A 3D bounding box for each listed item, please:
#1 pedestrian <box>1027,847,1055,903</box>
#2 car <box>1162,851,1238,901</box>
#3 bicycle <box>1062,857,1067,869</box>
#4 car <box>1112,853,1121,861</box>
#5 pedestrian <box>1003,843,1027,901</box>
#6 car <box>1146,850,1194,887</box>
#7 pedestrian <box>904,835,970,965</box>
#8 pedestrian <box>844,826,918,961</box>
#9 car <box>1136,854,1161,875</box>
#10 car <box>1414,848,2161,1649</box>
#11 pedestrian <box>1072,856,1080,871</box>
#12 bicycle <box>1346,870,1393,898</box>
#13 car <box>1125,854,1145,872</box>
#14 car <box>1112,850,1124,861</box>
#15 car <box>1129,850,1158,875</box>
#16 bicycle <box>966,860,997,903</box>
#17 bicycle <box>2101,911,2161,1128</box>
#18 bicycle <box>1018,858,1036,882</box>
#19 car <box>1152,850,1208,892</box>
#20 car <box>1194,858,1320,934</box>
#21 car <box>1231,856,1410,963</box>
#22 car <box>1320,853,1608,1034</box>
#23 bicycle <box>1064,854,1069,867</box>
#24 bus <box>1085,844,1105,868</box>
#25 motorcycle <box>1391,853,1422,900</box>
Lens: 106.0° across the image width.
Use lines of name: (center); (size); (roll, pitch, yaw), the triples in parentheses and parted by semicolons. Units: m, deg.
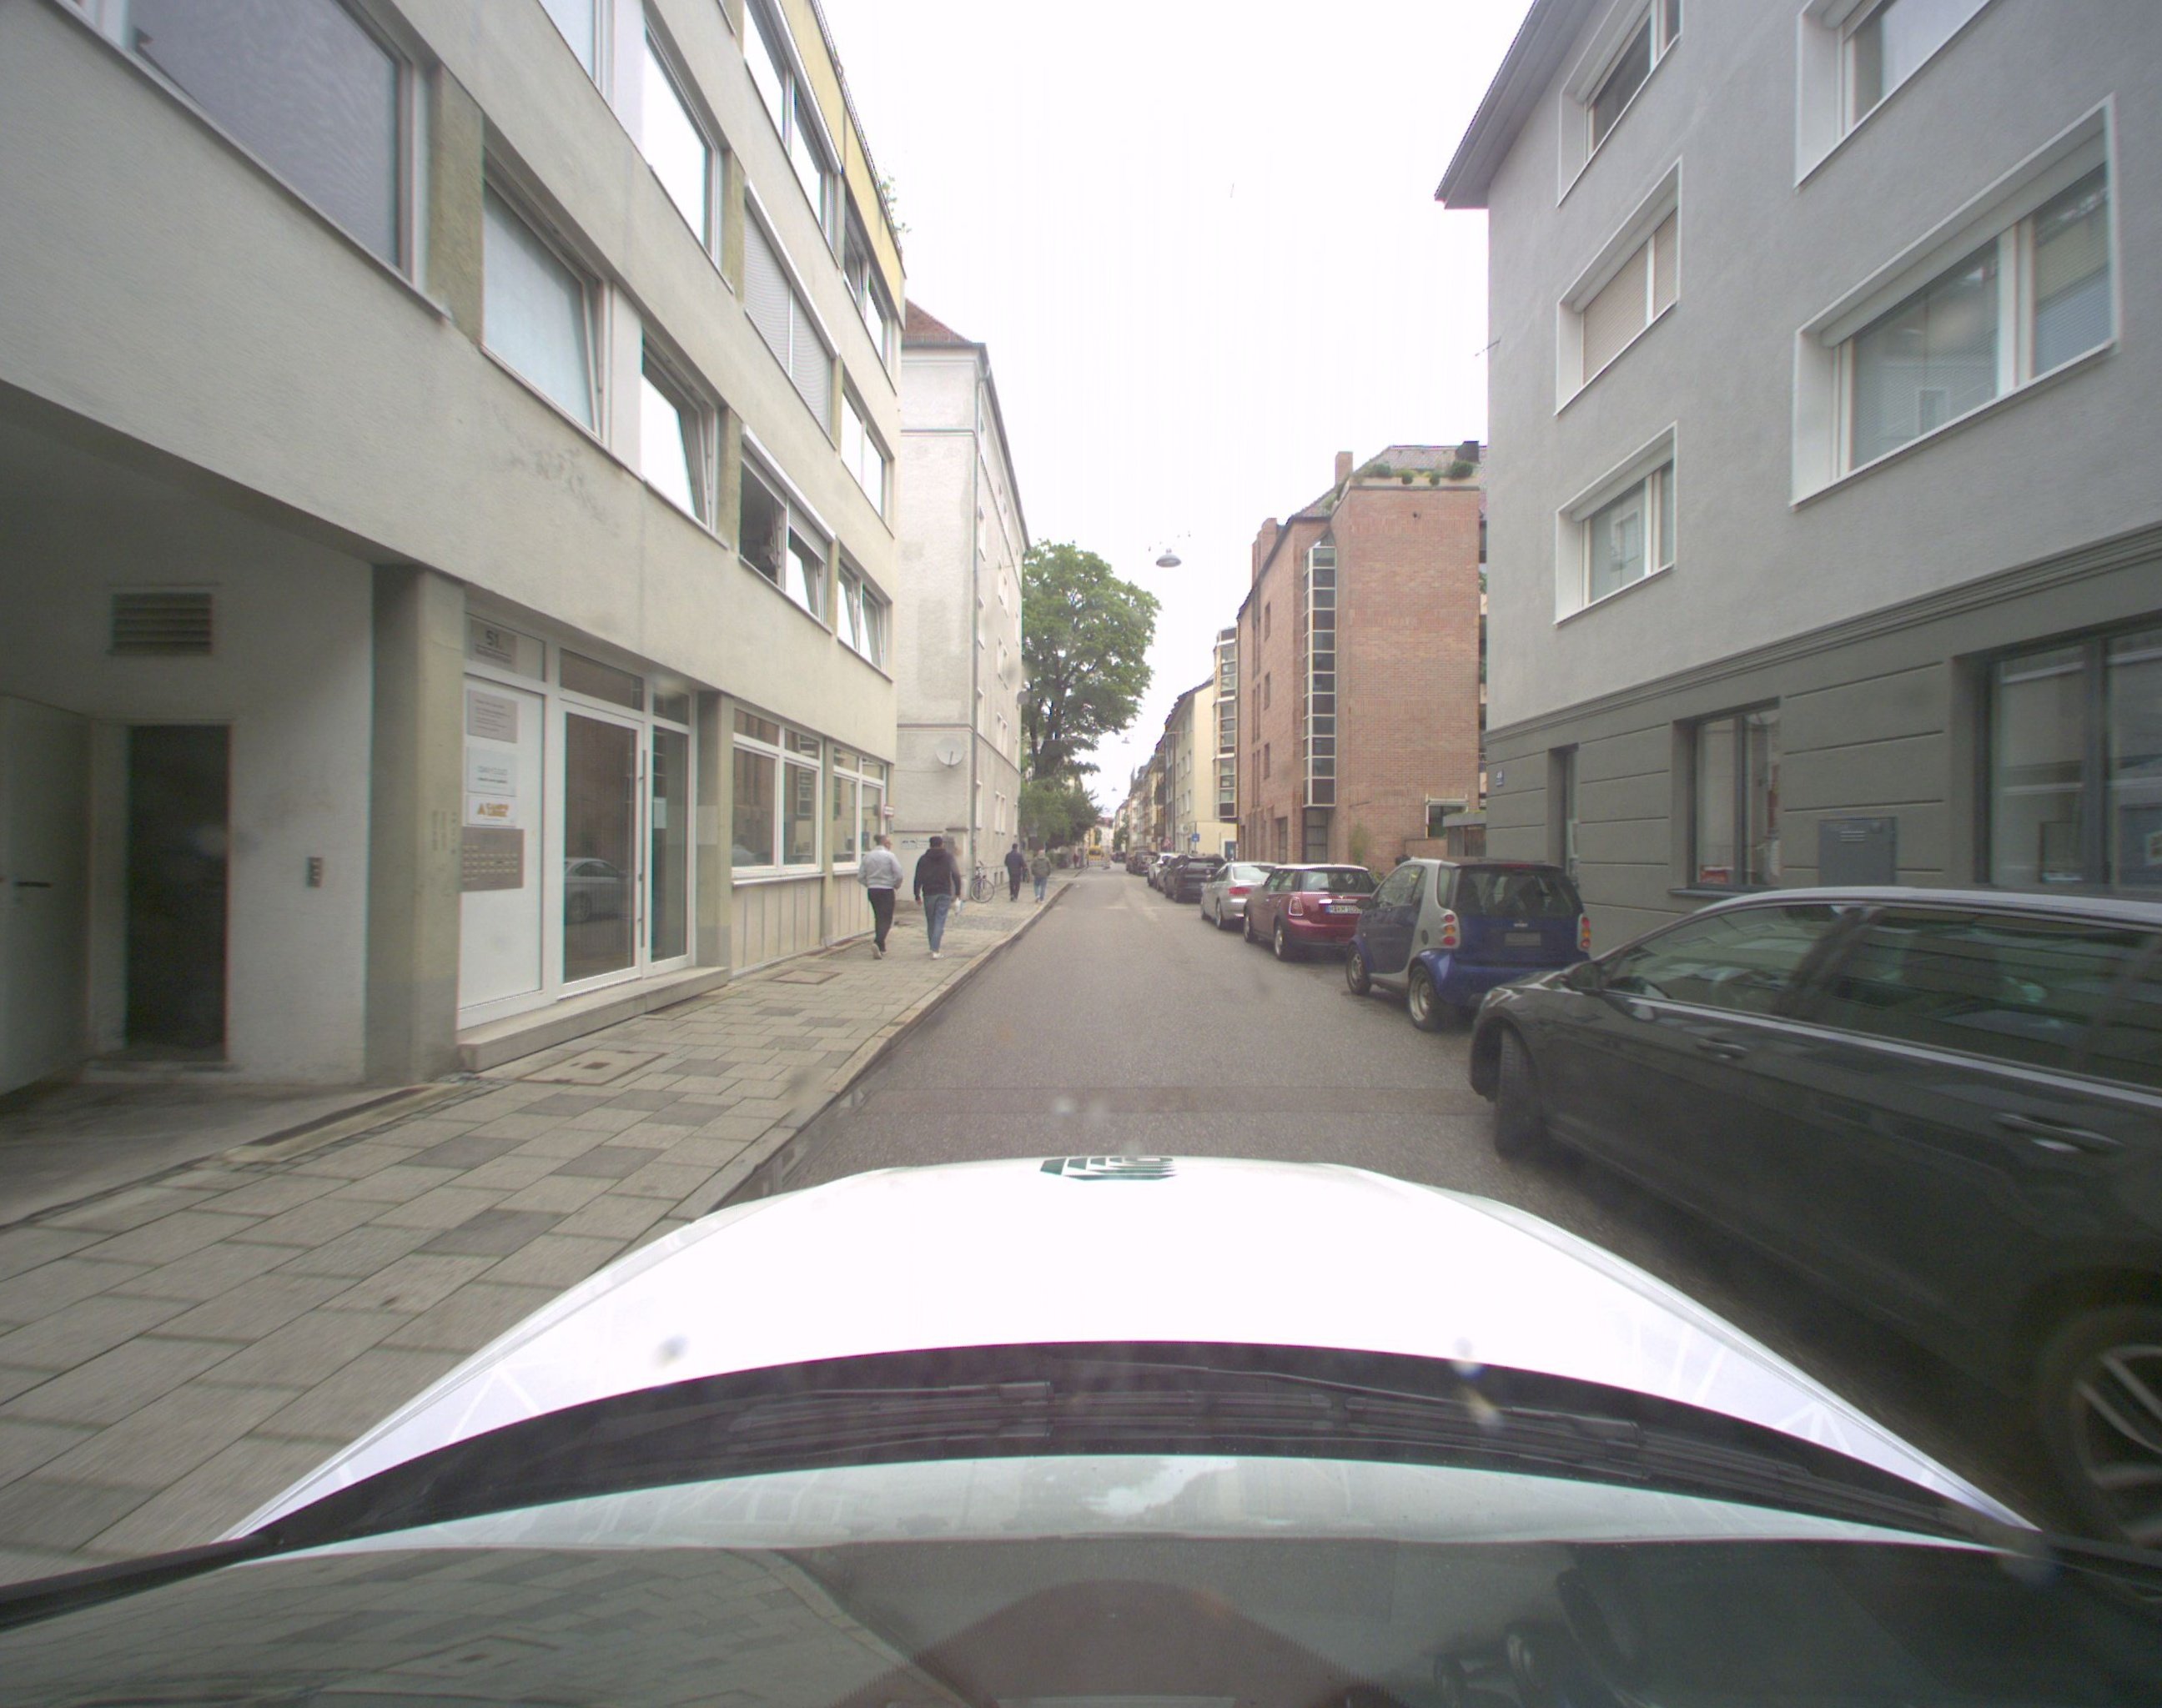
pedestrian: (-1.230, 0.637, 25.186); (0.750, 1.659, 0.906); (2, -1, 1)
car: (3.965, 0.704, 27.816); (1.880, 1.555, 4.390); (1, 0, -1)
bicycle: (-1.584, 0.859, 78.178); (0.444, 1.073, 2.467); (-1, -1, 0)
car: (7.489, 0.632, 170.389); (1.794, 1.614, 4.002); (1, 0, 2)
pedestrian: (-2.028, 0.552, 25.075); (0.610, 1.713, 0.823); (2, -1, 1)
car: (4.101, 0.631, 38.073); (1.743, 1.630, 4.195); (0, 0, -1)
pedestrian: (-2.033, 0.633, 11.607); (0.715, 1.765, 0.838); (2, -1, 1)
pedestrian: (-2.782, 0.532, 11.415); (0.715, 1.796, 0.917); (2, -1, 1)
car: (4.933, 0.746, 59.939); (1.618, 1.487, 3.810); (1, 0, 2)
car: (3.002, 0.764, 2.988); (1.833, 1.528, 4.293); (1, 0, 0)
pedestrian: (-0.540, 0.951, 82.433); (0.753, 1.491, 0.831); (-1, -1, 1)
bicycle: (9.006, 0.943, 25.459); (1.311, 0.859, 0.414); (-1, -1, 1)
car: (5.038, 0.816, 76.186); (1.630, 1.515, 3.830); (4, 0, 1)
car: (6.499, 0.270, 141.998); (1.795, 1.712, 3.826); (4, 0, 0)
car: (4.884, 0.654, 64.302); (1.796, 1.820, 3.999); (4, 0, -1)
bicycle: (-2.967, 0.802, 24.150); (0.643, 1.217, 1.655); (0, -1, -17)
bicycle: (5.777, 0.854, 3.415); (0.566, 1.091, 1.997); (0, 0, 3)
bicycle: (-2.571, 0.765, 38.761); (0.474, 1.111, 1.751); (1, 0, -16)
car: (4.051, 0.676, 33.793); (1.716, 1.635, 3.878); (-1, -1, -2)
car: (3.702, 0.821, 17.968); (1.830, 1.417, 4.601); (1, 0, 0)
car: (3.705, 0.774, 13.366); (1.740, 1.462, 4.150); (1, 0, 0)
car: (3.718, 0.759, 8.497); (1.516, 1.511, 3.202); (1, 0, 0)
bicycle: (-1.600, 0.698, 90.989); (0.512, 1.418, 1.934); (-1, -1, 1)
bus: (1.988, 0.257, 110.026); (2.583, 3.102, 6.308); (-1, -1, 2)
motorcycle: (9.556, 0.641, 23.979); (0.536, 1.345, 1.947); (-1, -1, 13)
